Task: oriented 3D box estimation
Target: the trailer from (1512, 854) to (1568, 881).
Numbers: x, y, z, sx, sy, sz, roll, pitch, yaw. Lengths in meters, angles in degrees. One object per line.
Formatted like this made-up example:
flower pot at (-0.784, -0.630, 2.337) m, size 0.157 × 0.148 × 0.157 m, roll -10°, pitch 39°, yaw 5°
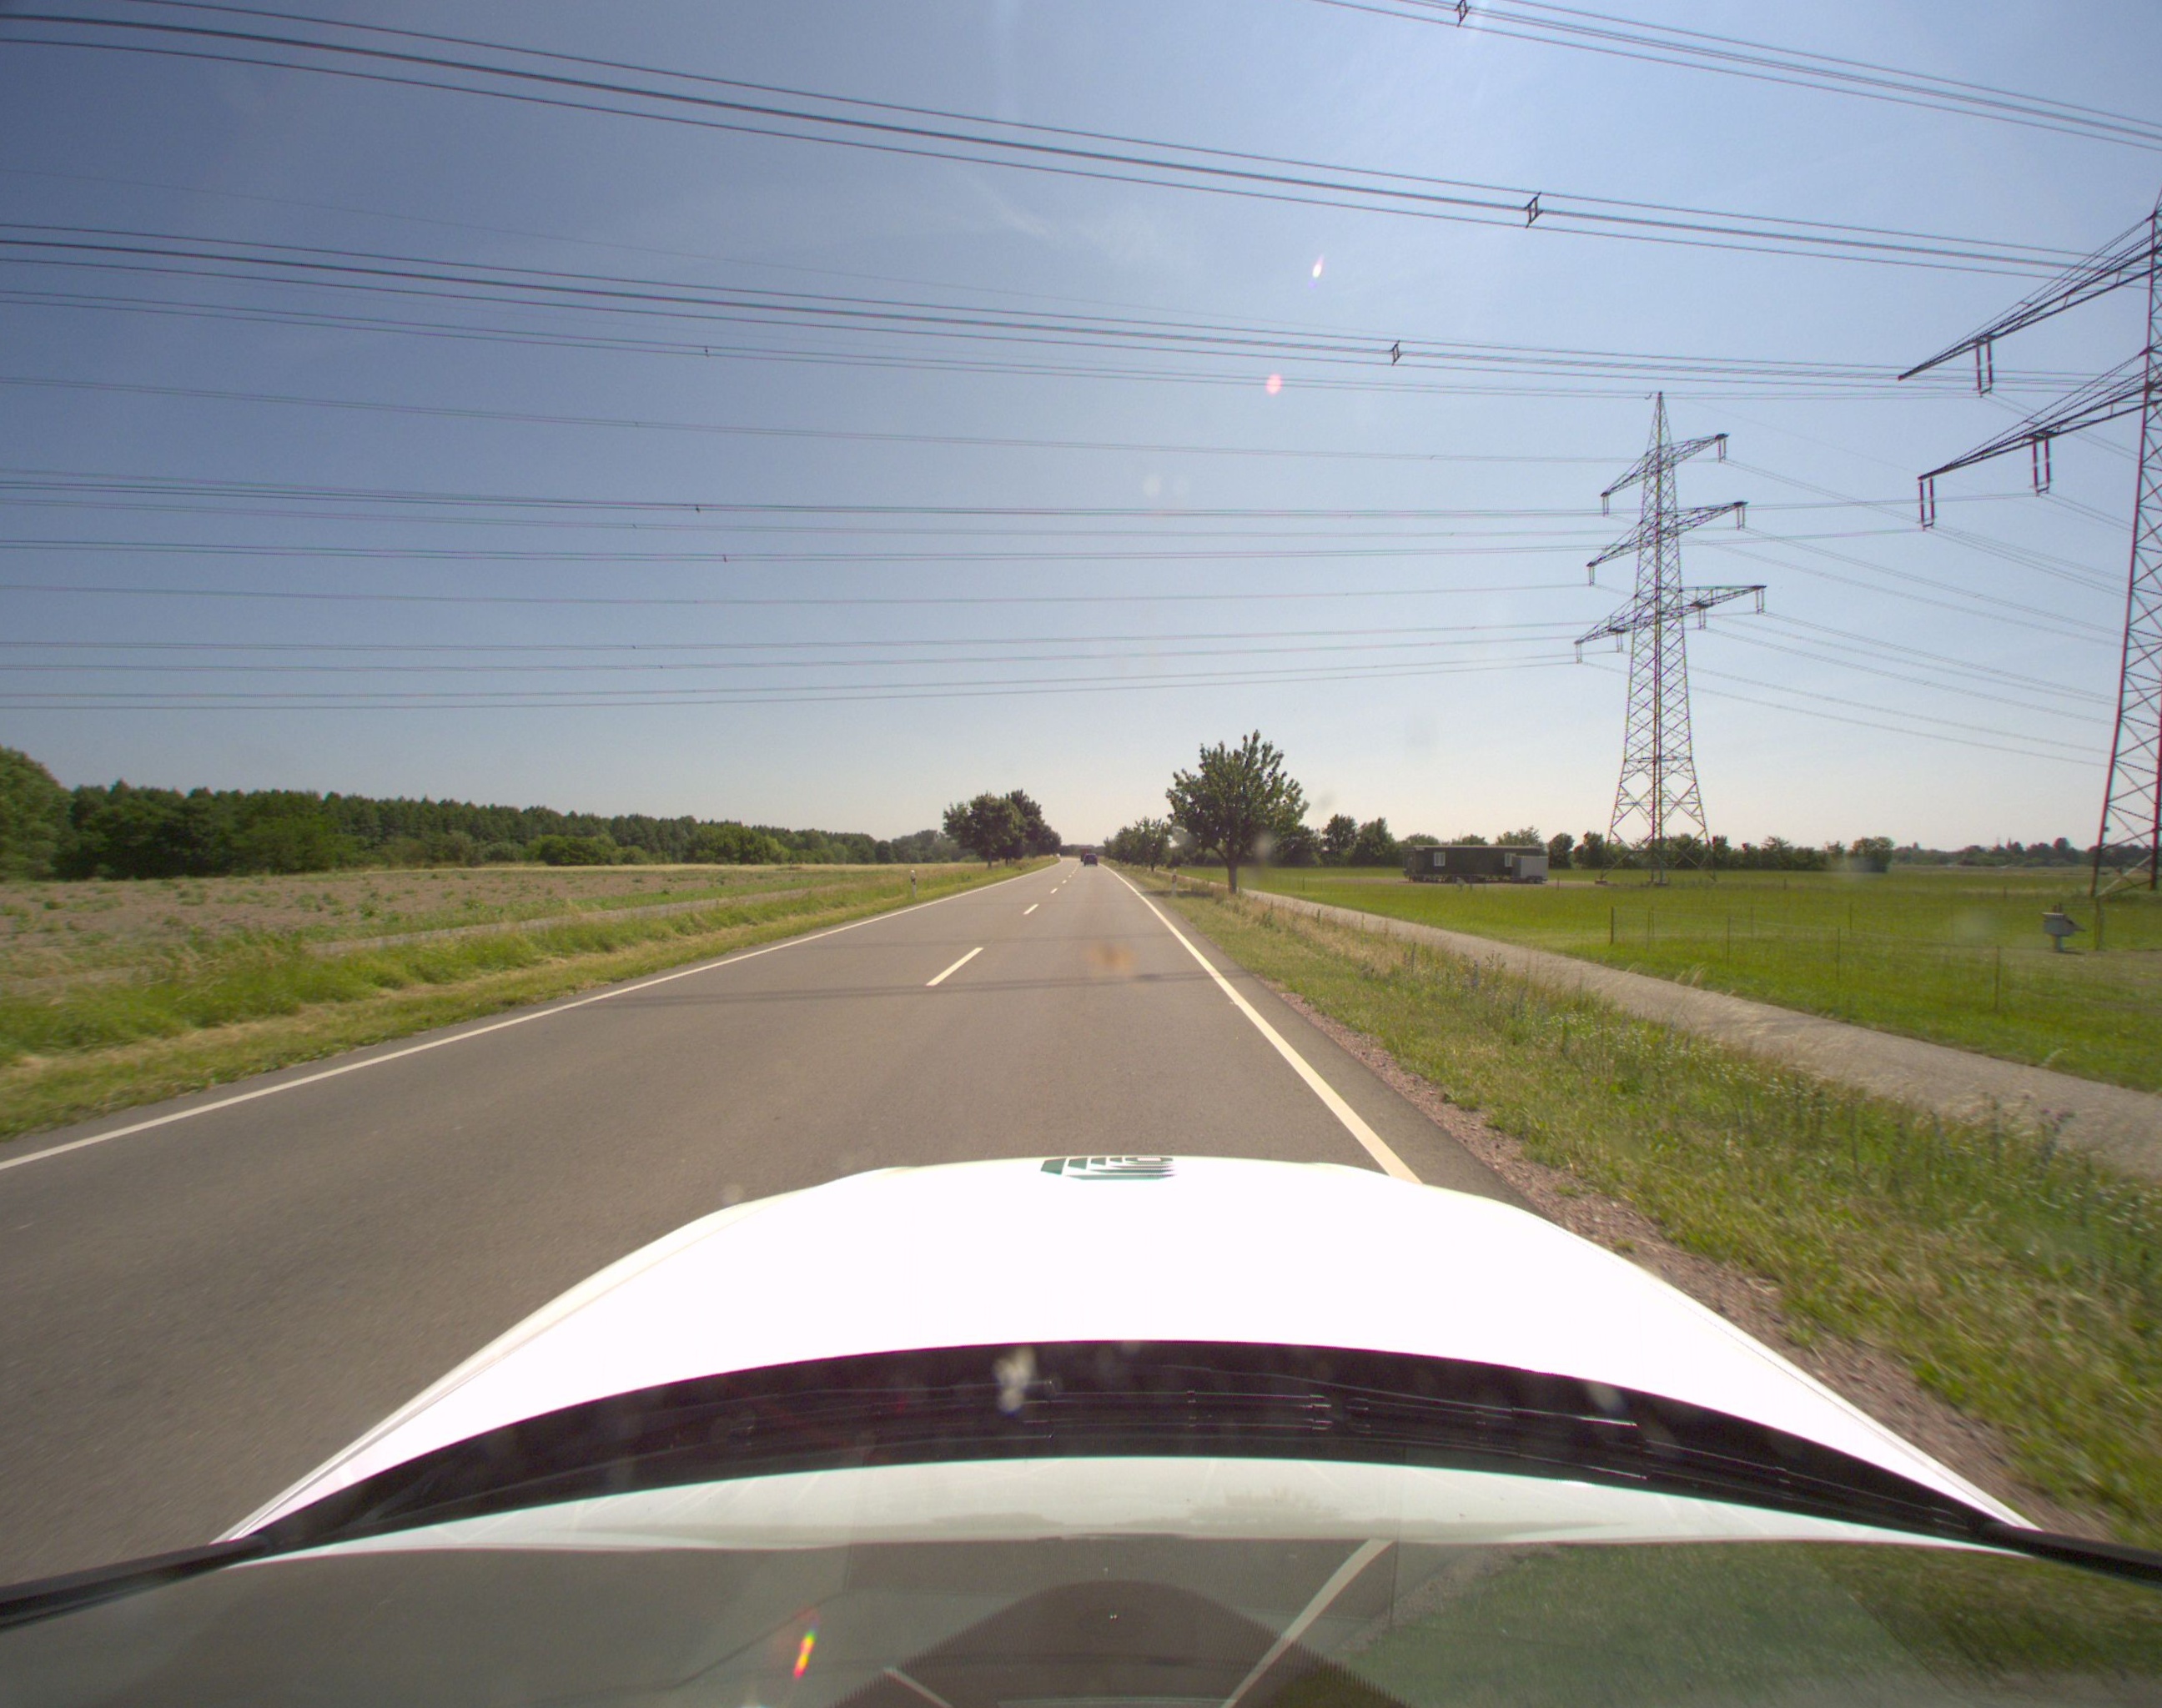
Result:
trailer at (42.088, 1.229, 74.723) m, size 3.977 × 2.443 × 1.998 m, roll 0°, pitch 0°, yaw -3°

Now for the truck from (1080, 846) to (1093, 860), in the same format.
truck at (1.141, -0.180, 184.015) m, size 2.366 × 3.140 × 8.736 m, roll -1°, pitch 0°, yaw -3°

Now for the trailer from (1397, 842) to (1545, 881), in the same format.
trailer at (37.092, 0.703, 77.719) m, size 12.373 × 3.473 × 3.804 m, roll 0°, pitch 0°, yaw -1°

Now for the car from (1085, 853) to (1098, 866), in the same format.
car at (1.425, 0.764, 113.158) m, size 1.709 × 1.694 × 3.988 m, roll -1°, pitch 0°, yaw 1°
